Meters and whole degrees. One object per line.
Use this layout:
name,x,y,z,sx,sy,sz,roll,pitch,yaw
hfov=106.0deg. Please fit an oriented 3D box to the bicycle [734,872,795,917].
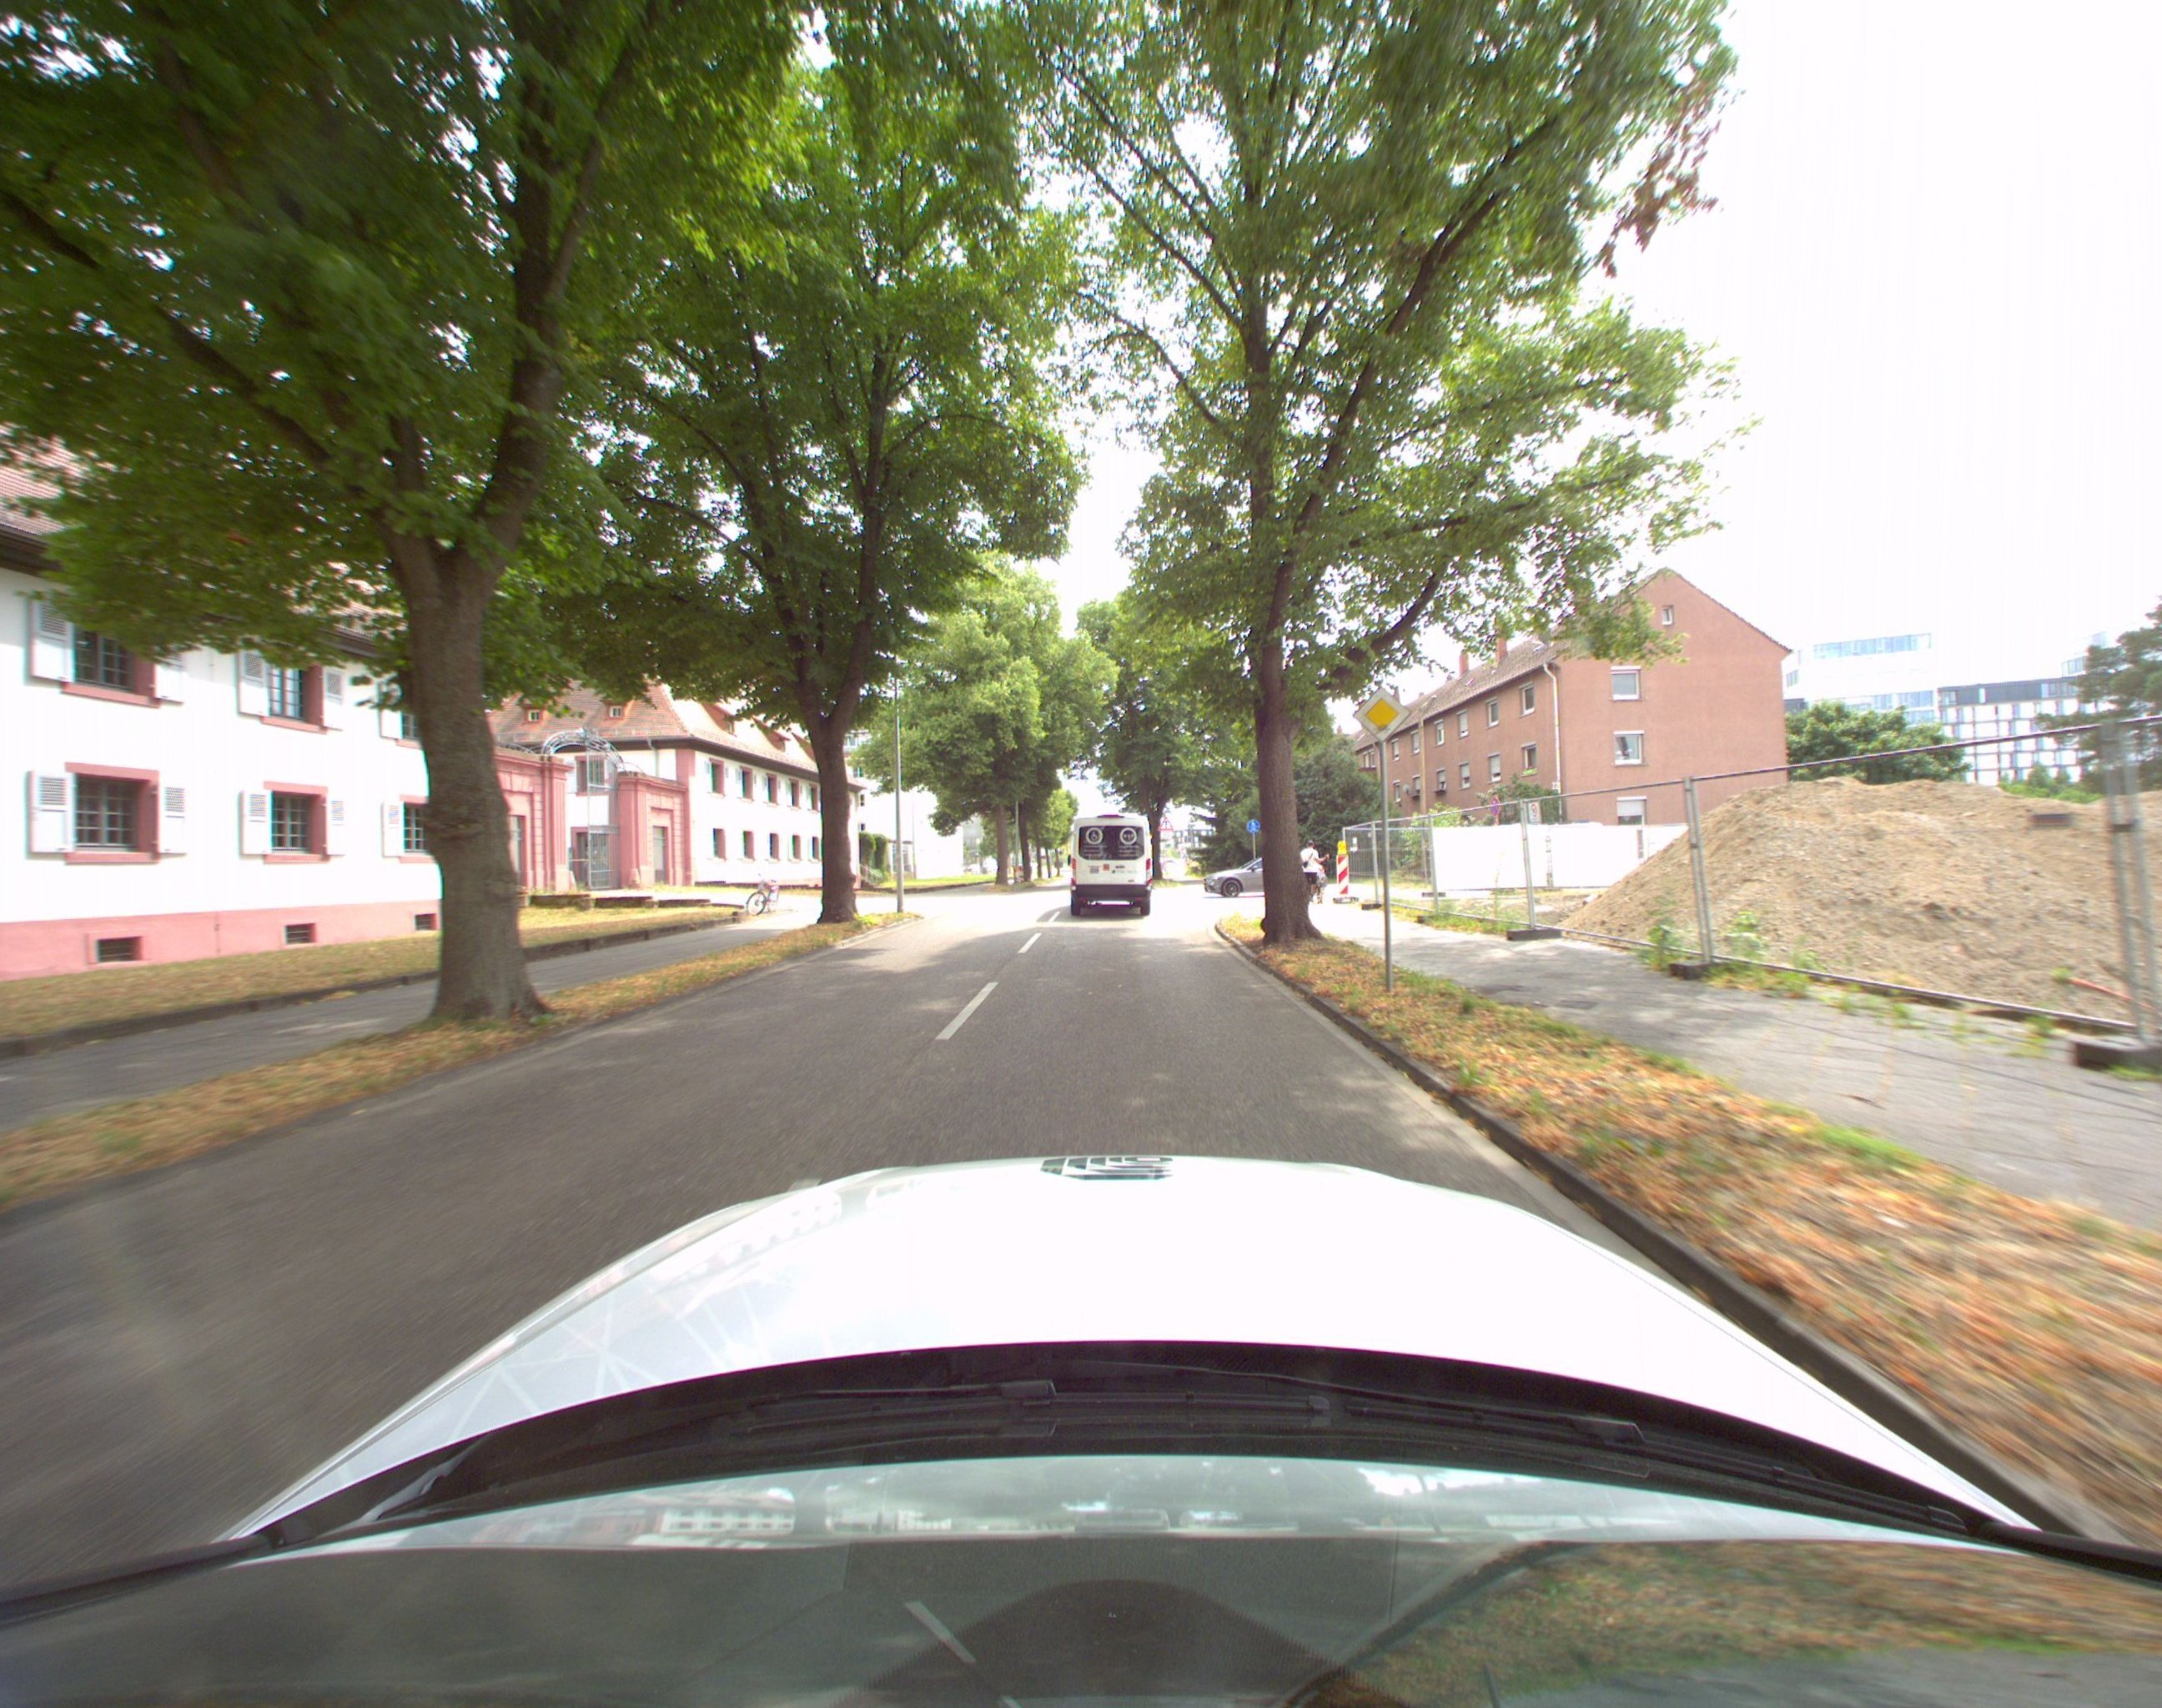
bicycle,-8.641,1.078,22.341,0.720,1.095,2.226,2,0,2

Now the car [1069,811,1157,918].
car,0.740,0.215,21.441,2.057,2.539,3.999,-1,1,-1

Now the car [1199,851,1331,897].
car,6.577,0.743,29.558,4.353,1.443,2.012,-2,-3,3

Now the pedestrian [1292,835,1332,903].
pedestrian,6.386,0.410,22.474,0.875,1.814,0.893,-4,-1,21

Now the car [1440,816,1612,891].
car,17.448,-0.032,32.154,5.449,2.632,2.338,-2,1,3

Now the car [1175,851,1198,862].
car,21.018,0.455,162.218,4.434,1.816,1.990,-3,-1,-39
